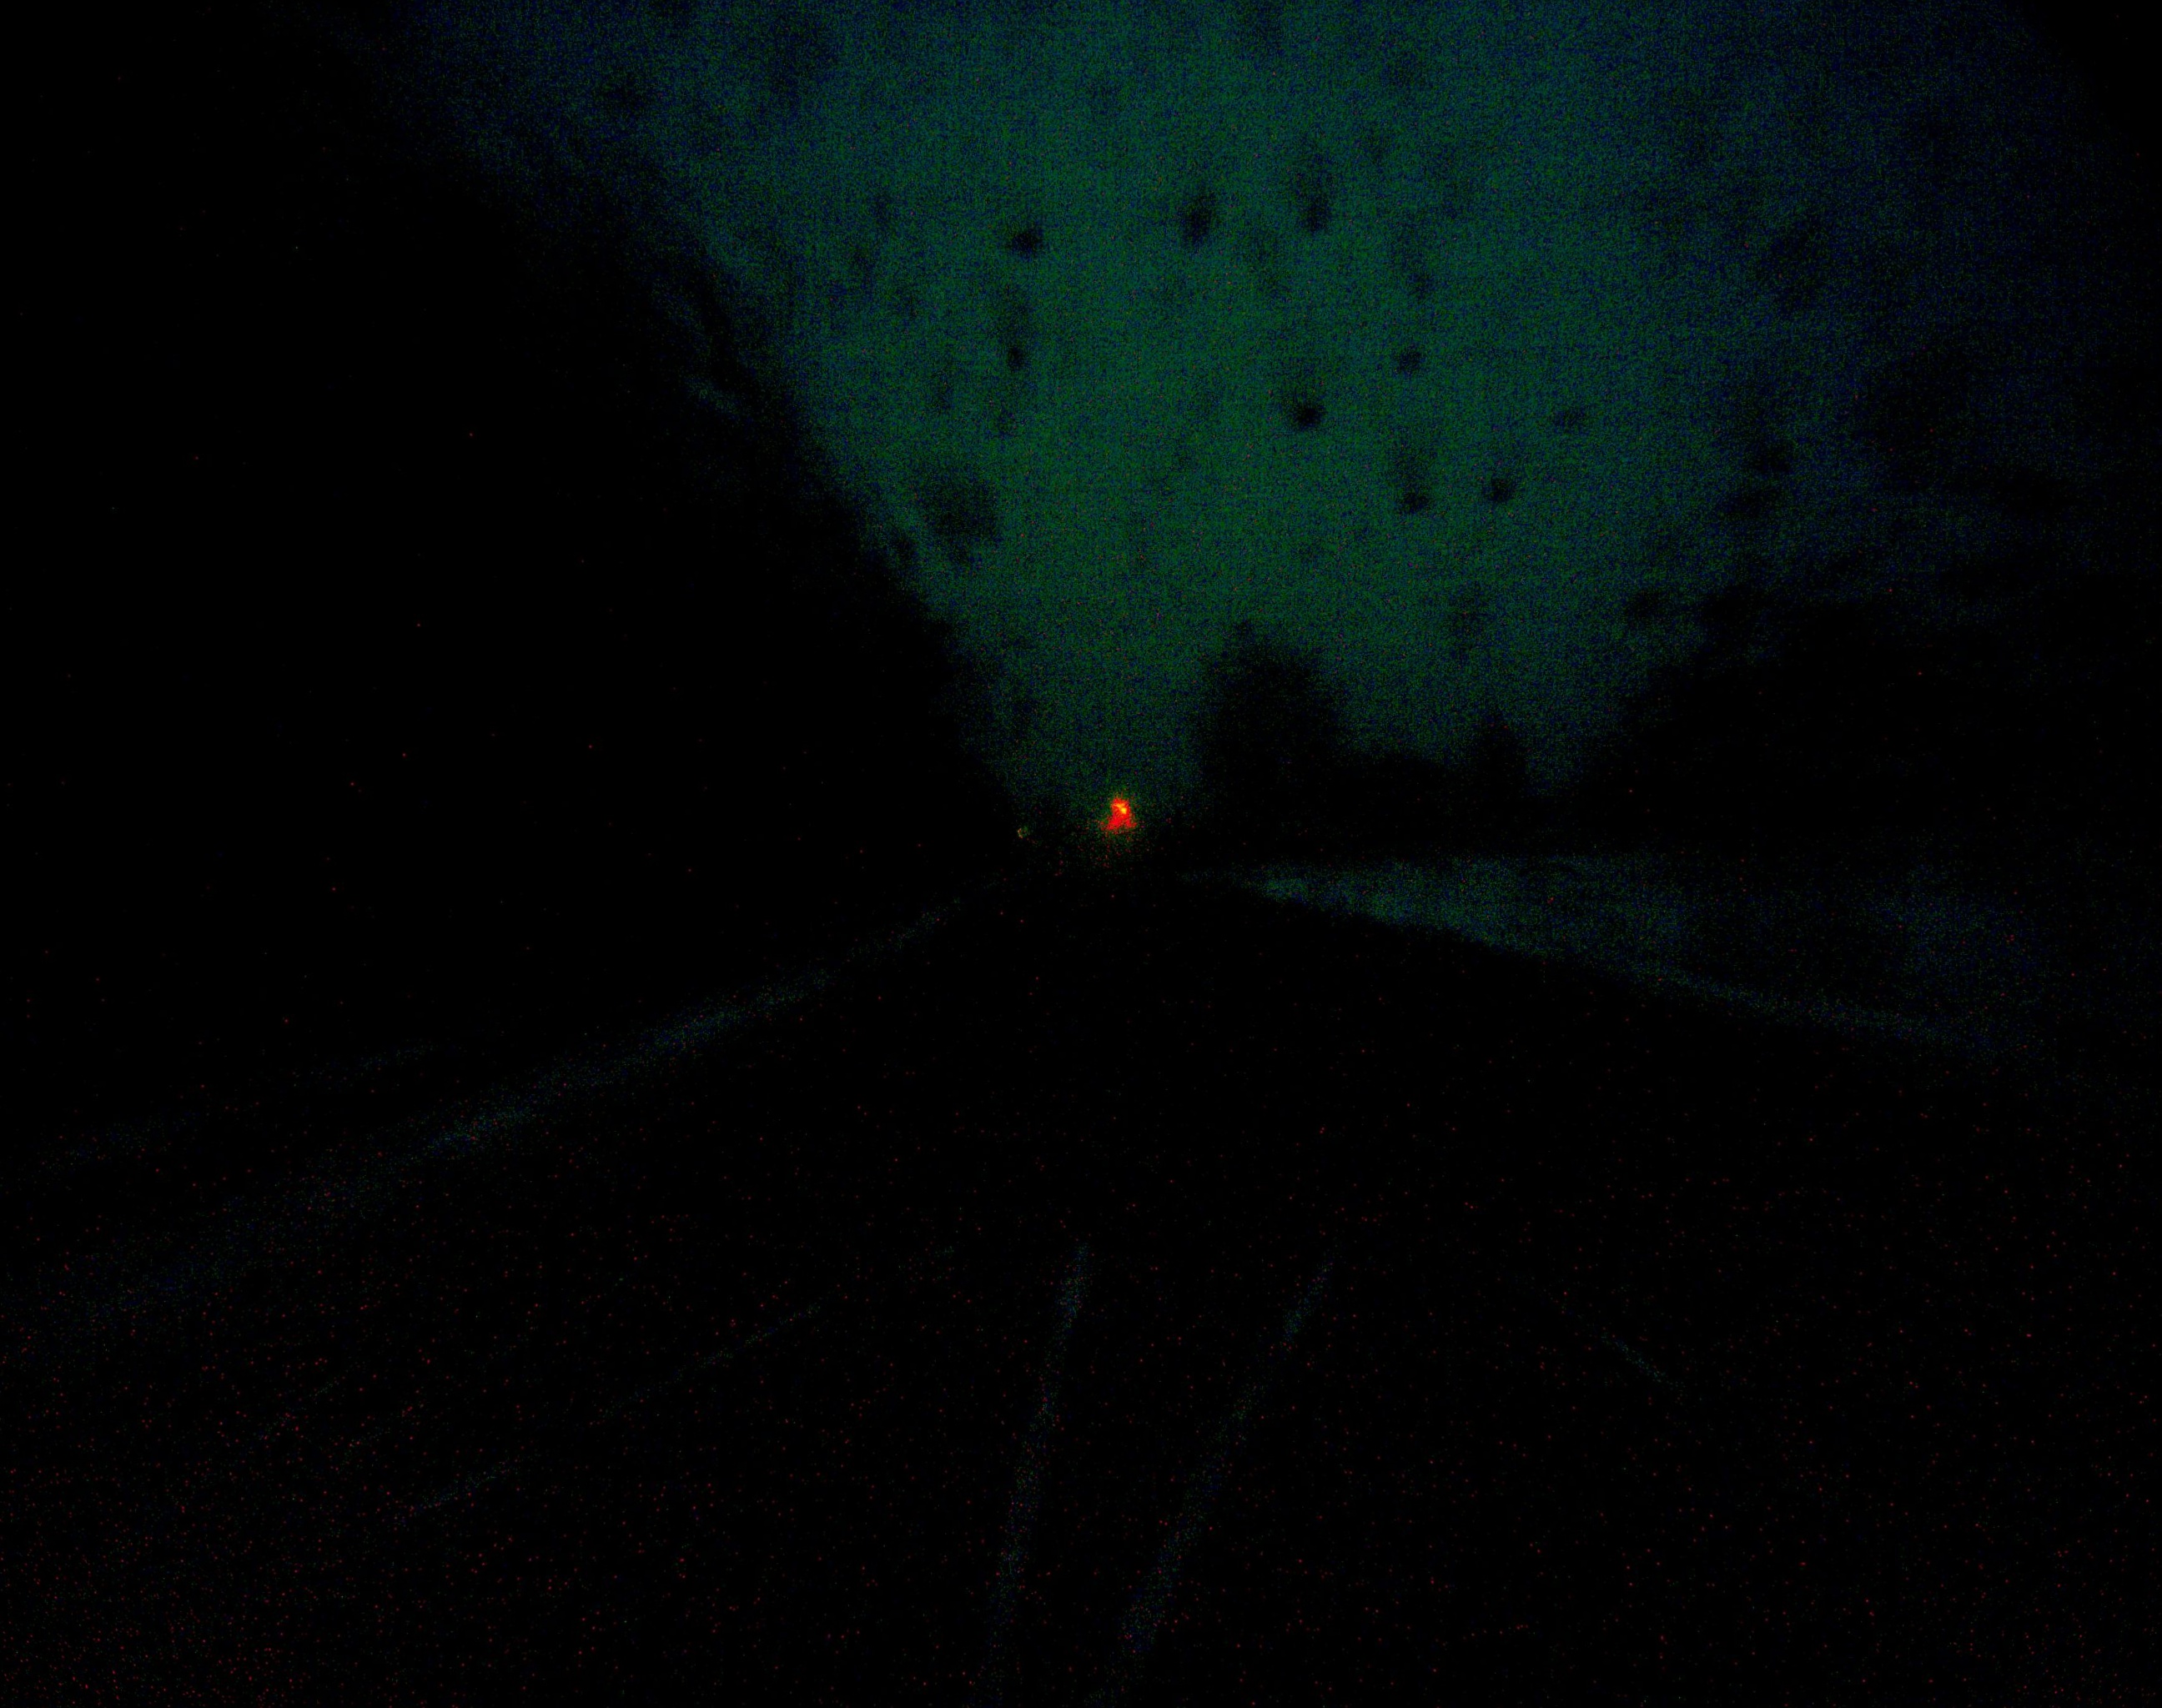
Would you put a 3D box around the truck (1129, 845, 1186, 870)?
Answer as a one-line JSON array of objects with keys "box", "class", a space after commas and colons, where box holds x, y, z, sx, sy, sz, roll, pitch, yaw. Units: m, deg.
[{"box": [7.626, 0.350, 75.601, 5.281, 2.288, 1.998, 1, -2, -13], "class": "truck"}]

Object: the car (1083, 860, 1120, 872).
[{"box": [2.807, 1.676, 104.138, 4.547, 1.556, 2.108, 2, -2, -20], "class": "car"}]

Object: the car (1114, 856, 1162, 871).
[{"box": [6.360, 1.061, 85.321, 4.905, 1.476, 2.122, 1, -2, -13], "class": "car"}]
